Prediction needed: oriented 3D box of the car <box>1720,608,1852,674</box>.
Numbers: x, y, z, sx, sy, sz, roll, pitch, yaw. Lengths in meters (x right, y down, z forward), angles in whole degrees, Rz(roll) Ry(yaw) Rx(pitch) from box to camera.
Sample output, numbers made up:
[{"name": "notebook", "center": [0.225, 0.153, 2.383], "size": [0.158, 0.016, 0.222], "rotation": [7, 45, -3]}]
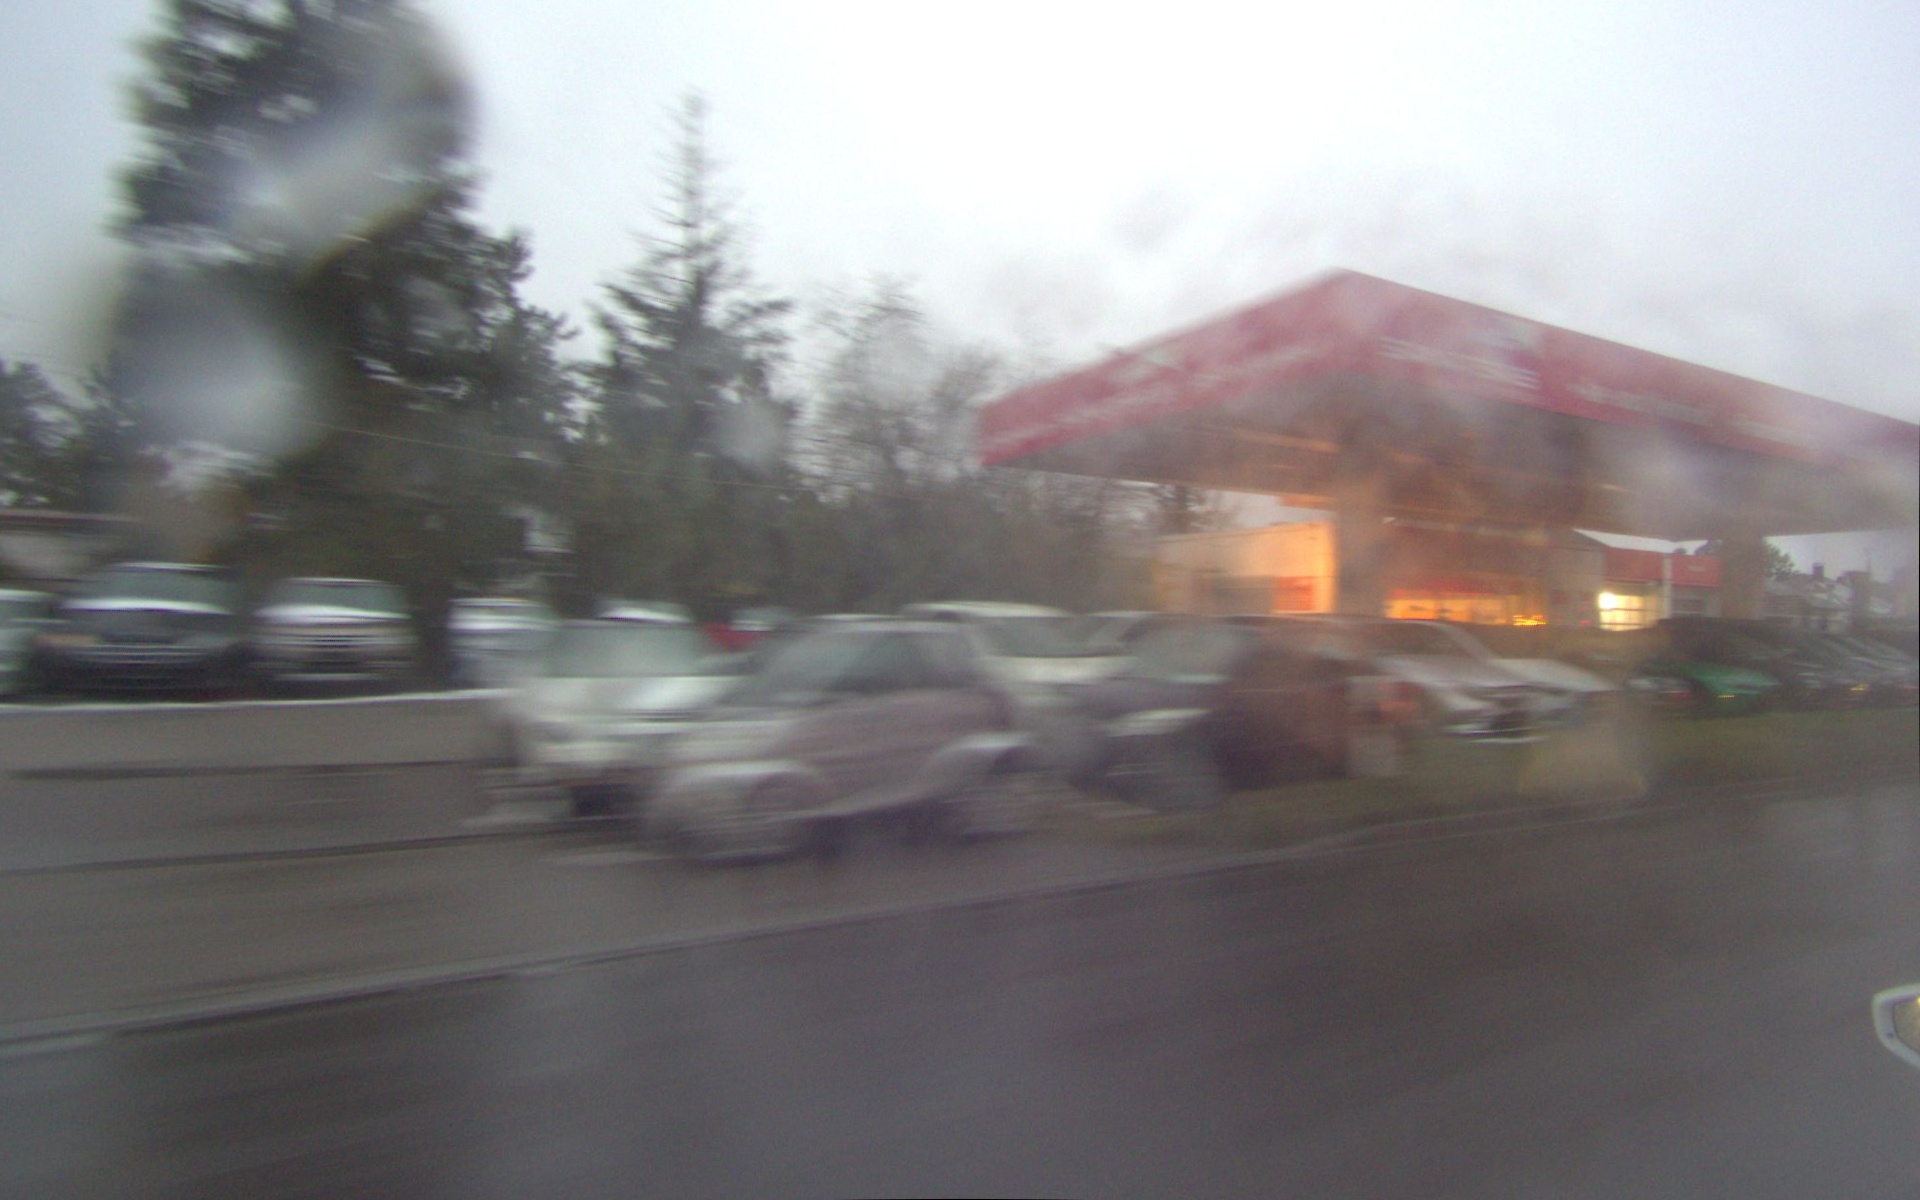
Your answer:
[{"name": "car", "center": [25.209, 1.242, 30.647], "size": [3.953, 1.893, 1.877], "rotation": [2, -1, -30]}]

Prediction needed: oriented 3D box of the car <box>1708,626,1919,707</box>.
[{"name": "car", "center": [19.552, 1.425, 22.719], "size": [1.818, 1.580, 3.841], "rotation": [2, -1, -29]}]

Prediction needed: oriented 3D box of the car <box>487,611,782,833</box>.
[{"name": "car", "center": [-3.165, 0.907, 9.243], "size": [1.756, 1.479, 3.751], "rotation": [1, 0, -31]}]

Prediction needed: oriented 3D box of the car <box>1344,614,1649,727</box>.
[{"name": "car", "center": [8.342, 1.022, 15.959], "size": [1.921, 1.428, 3.840], "rotation": [2, 0, -29]}]

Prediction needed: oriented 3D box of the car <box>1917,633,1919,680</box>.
[{"name": "car", "center": [31.407, 1.739, 29.564], "size": [1.976, 1.685, 4.258], "rotation": [2, 2, -29]}]

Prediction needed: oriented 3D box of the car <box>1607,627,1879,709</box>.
[{"name": "car", "center": [15.309, 1.269, 19.850], "size": [1.818, 1.363, 3.841], "rotation": [2, -1, -29]}]

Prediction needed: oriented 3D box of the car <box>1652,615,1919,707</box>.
[{"name": "car", "center": [17.488, 1.197, 21.273], "size": [1.957, 1.678, 4.261], "rotation": [2, -1, -29]}]

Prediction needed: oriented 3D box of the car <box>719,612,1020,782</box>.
[{"name": "car", "center": [-1.160, 0.890, 10.876], "size": [1.818, 1.364, 3.840], "rotation": [2, 0, -29]}]

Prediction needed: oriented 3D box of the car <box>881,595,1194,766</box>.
[{"name": "car", "center": [0.724, 0.820, 12.063], "size": [1.917, 1.672, 4.032], "rotation": [2, -1, -27]}]

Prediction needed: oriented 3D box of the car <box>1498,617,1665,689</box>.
[{"name": "car", "center": [15.833, 1.326, 25.564], "size": [4.098, 1.678, 1.880], "rotation": [2, -1, -30]}]

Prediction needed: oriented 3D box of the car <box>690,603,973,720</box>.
[{"name": "car", "center": [-1.928, 0.861, 15.123], "size": [3.823, 1.509, 1.826], "rotation": [1, 1, -29]}]

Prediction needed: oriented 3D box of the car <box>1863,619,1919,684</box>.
[{"name": "car", "center": [29.078, 1.591, 28.798], "size": [1.976, 1.787, 4.258], "rotation": [2, 2, -29]}]

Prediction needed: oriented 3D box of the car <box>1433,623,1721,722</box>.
[{"name": "car", "center": [10.455, 1.156, 17.302], "size": [1.818, 1.424, 3.841], "rotation": [2, -1, -29]}]

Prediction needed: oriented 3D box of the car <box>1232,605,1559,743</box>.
[{"name": "car", "center": [6.012, 0.920, 14.360], "size": [1.801, 1.575, 4.012], "rotation": [1, 1, -29]}]

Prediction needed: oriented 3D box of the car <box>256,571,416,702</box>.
[{"name": "car", "center": [-9.942, 0.513, 16.275], "size": [1.935, 1.832, 3.969], "rotation": [1, 0, -29]}]

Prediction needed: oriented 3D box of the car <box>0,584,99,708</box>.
[{"name": "car", "center": [-13.610, 0.547, 13.879], "size": [1.768, 1.530, 3.969], "rotation": [1, 0, -29]}]

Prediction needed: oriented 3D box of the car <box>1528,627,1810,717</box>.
[{"name": "car", "center": [12.860, 1.244, 18.454], "size": [1.818, 1.363, 3.841], "rotation": [2, -1, -29]}]

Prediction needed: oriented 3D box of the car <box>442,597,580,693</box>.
[{"name": "car", "center": [-8.138, 0.720, 18.015], "size": [1.935, 1.485, 3.969], "rotation": [1, 0, -29]}]

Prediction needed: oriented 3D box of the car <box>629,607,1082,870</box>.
[{"name": "car", "center": [-0.745, 0.878, 7.410], "size": [2.979, 1.563, 1.511], "rotation": [1, -2, -30]}]

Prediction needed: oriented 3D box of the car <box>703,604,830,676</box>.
[{"name": "car", "center": [-3.987, 0.752, 20.299], "size": [1.603, 1.275, 3.556], "rotation": [2, 0, -27]}]

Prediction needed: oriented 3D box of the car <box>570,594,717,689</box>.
[{"name": "car", "center": [-6.143, 0.712, 19.190], "size": [1.935, 1.597, 3.969], "rotation": [1, 0, -29]}]

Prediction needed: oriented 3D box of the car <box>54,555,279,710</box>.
[{"name": "car", "center": [-11.500, 0.416, 14.874], "size": [1.935, 1.948, 3.969], "rotation": [1, 0, -29]}]

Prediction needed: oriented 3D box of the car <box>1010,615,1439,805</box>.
[{"name": "car", "center": [2.478, 0.896, 9.301], "size": [3.693, 1.439, 1.676], "rotation": [2, -1, -28]}]

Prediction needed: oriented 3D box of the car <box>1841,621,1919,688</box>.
[{"name": "car", "center": [26.911, 1.562, 27.093], "size": [1.976, 1.685, 4.258], "rotation": [2, 2, -29]}]

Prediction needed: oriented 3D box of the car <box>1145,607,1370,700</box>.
[{"name": "car", "center": [5.734, 0.977, 19.300], "size": [3.994, 1.575, 1.859], "rotation": [1, 1, -29]}]

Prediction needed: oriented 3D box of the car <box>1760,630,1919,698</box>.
[{"name": "car", "center": [21.845, 1.496, 24.039], "size": [1.818, 1.461, 3.841], "rotation": [2, -1, -29]}]
